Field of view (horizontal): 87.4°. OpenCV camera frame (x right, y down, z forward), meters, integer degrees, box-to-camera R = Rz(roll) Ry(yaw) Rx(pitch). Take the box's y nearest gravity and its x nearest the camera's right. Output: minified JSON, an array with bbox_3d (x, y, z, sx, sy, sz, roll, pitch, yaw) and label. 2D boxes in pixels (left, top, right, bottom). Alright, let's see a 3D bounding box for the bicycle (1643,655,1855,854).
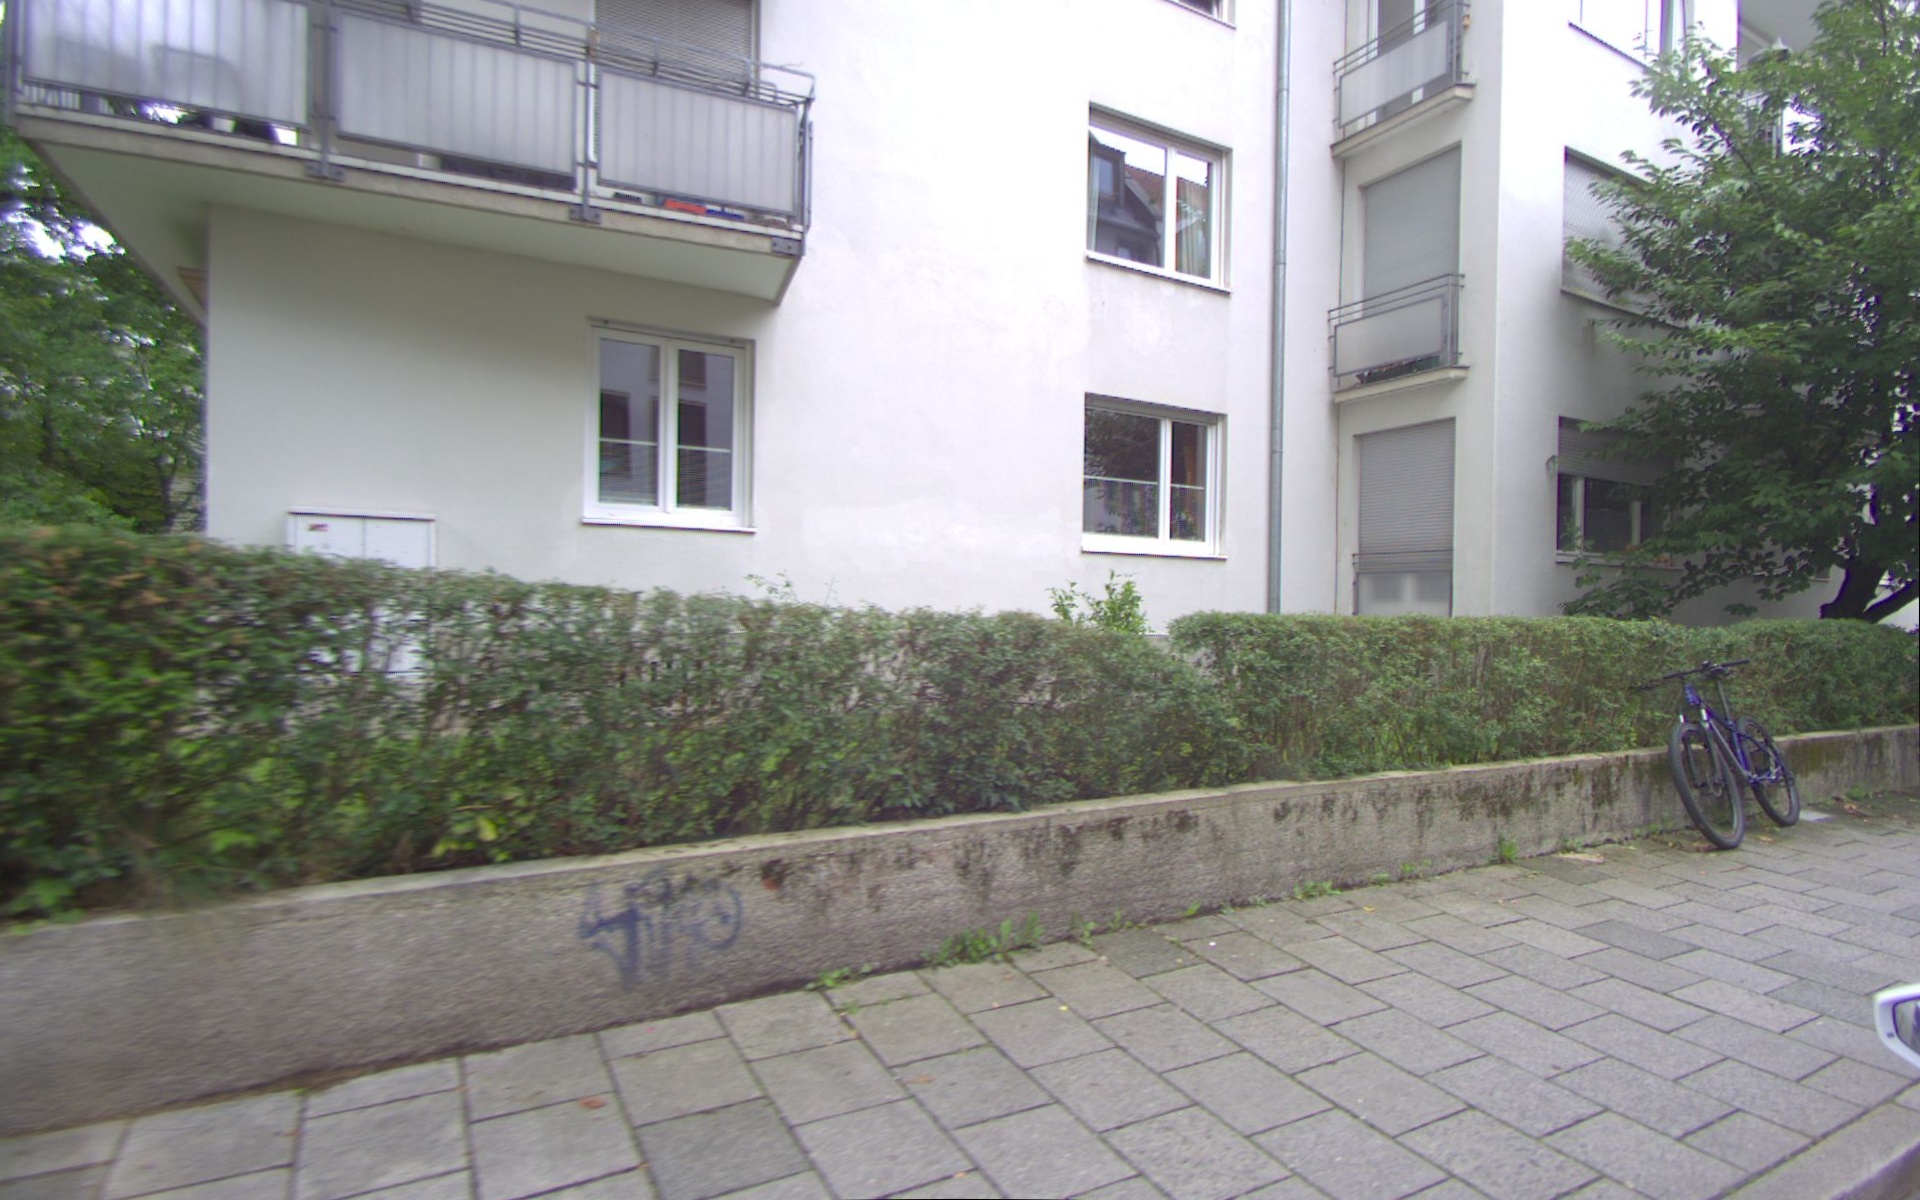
[{"bbox_3d":[4.951,0.908,6.266,1.759,1.086,0.345,1,3,-30],"label":"bicycle"}]
